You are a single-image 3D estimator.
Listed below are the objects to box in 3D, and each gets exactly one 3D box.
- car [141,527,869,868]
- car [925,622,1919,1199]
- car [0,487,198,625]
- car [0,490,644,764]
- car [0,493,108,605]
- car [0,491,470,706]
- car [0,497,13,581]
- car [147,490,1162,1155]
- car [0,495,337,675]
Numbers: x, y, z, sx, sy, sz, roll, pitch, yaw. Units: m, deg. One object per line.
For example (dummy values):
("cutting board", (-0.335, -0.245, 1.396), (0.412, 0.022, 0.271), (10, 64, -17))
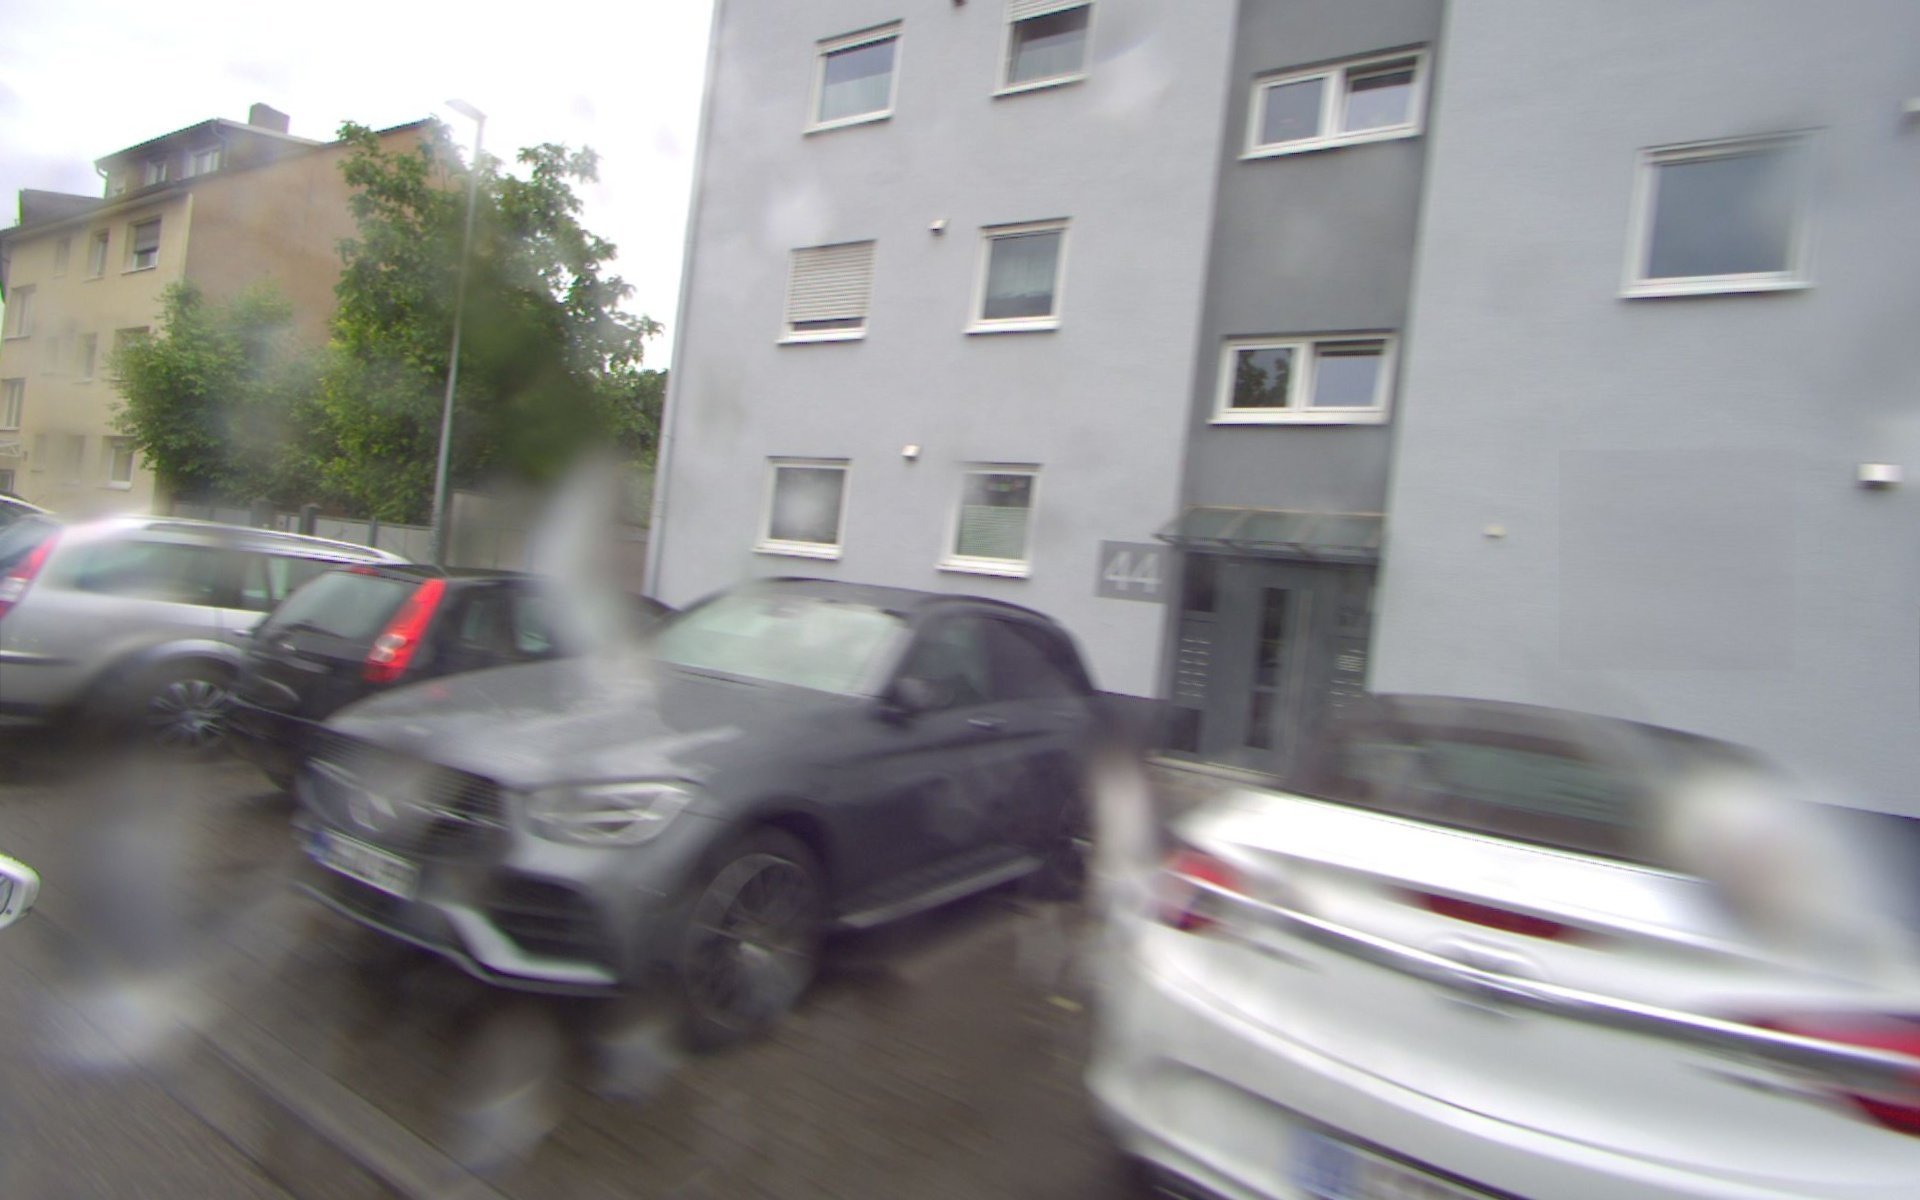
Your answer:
("car", (-2.592, 0.604, 6.718), (1.814, 1.428, 3.995), (7, -2, 31))
("car", (1.901, 1.074, 3.394), (1.968, 1.475, 4.103), (7, -2, 33))
("car", (-12.772, -0.698, 13.123), (1.873, 1.570, 3.996), (6, -2, 30))
("car", (-4.849, 0.263, 7.547), (1.954, 1.471, 4.272), (7, -2, 37))
("car", (-15.010, -0.944, 14.251), (1.830, 1.507, 3.998), (6, -2, 29))
("car", (-6.847, 0.045, 8.974), (1.774, 1.490, 3.992), (6, -2, 34))
("car", (-18.910, -1.360, 16.855), (1.903, 1.478, 3.994), (6, -2, 32))
("car", (-0.795, 0.700, 4.858), (2.006, 1.570, 4.350), (6, -2, 31))
("car", (-8.820, -0.185, 10.011), (1.752, 1.482, 3.995), (7, -2, 32))
